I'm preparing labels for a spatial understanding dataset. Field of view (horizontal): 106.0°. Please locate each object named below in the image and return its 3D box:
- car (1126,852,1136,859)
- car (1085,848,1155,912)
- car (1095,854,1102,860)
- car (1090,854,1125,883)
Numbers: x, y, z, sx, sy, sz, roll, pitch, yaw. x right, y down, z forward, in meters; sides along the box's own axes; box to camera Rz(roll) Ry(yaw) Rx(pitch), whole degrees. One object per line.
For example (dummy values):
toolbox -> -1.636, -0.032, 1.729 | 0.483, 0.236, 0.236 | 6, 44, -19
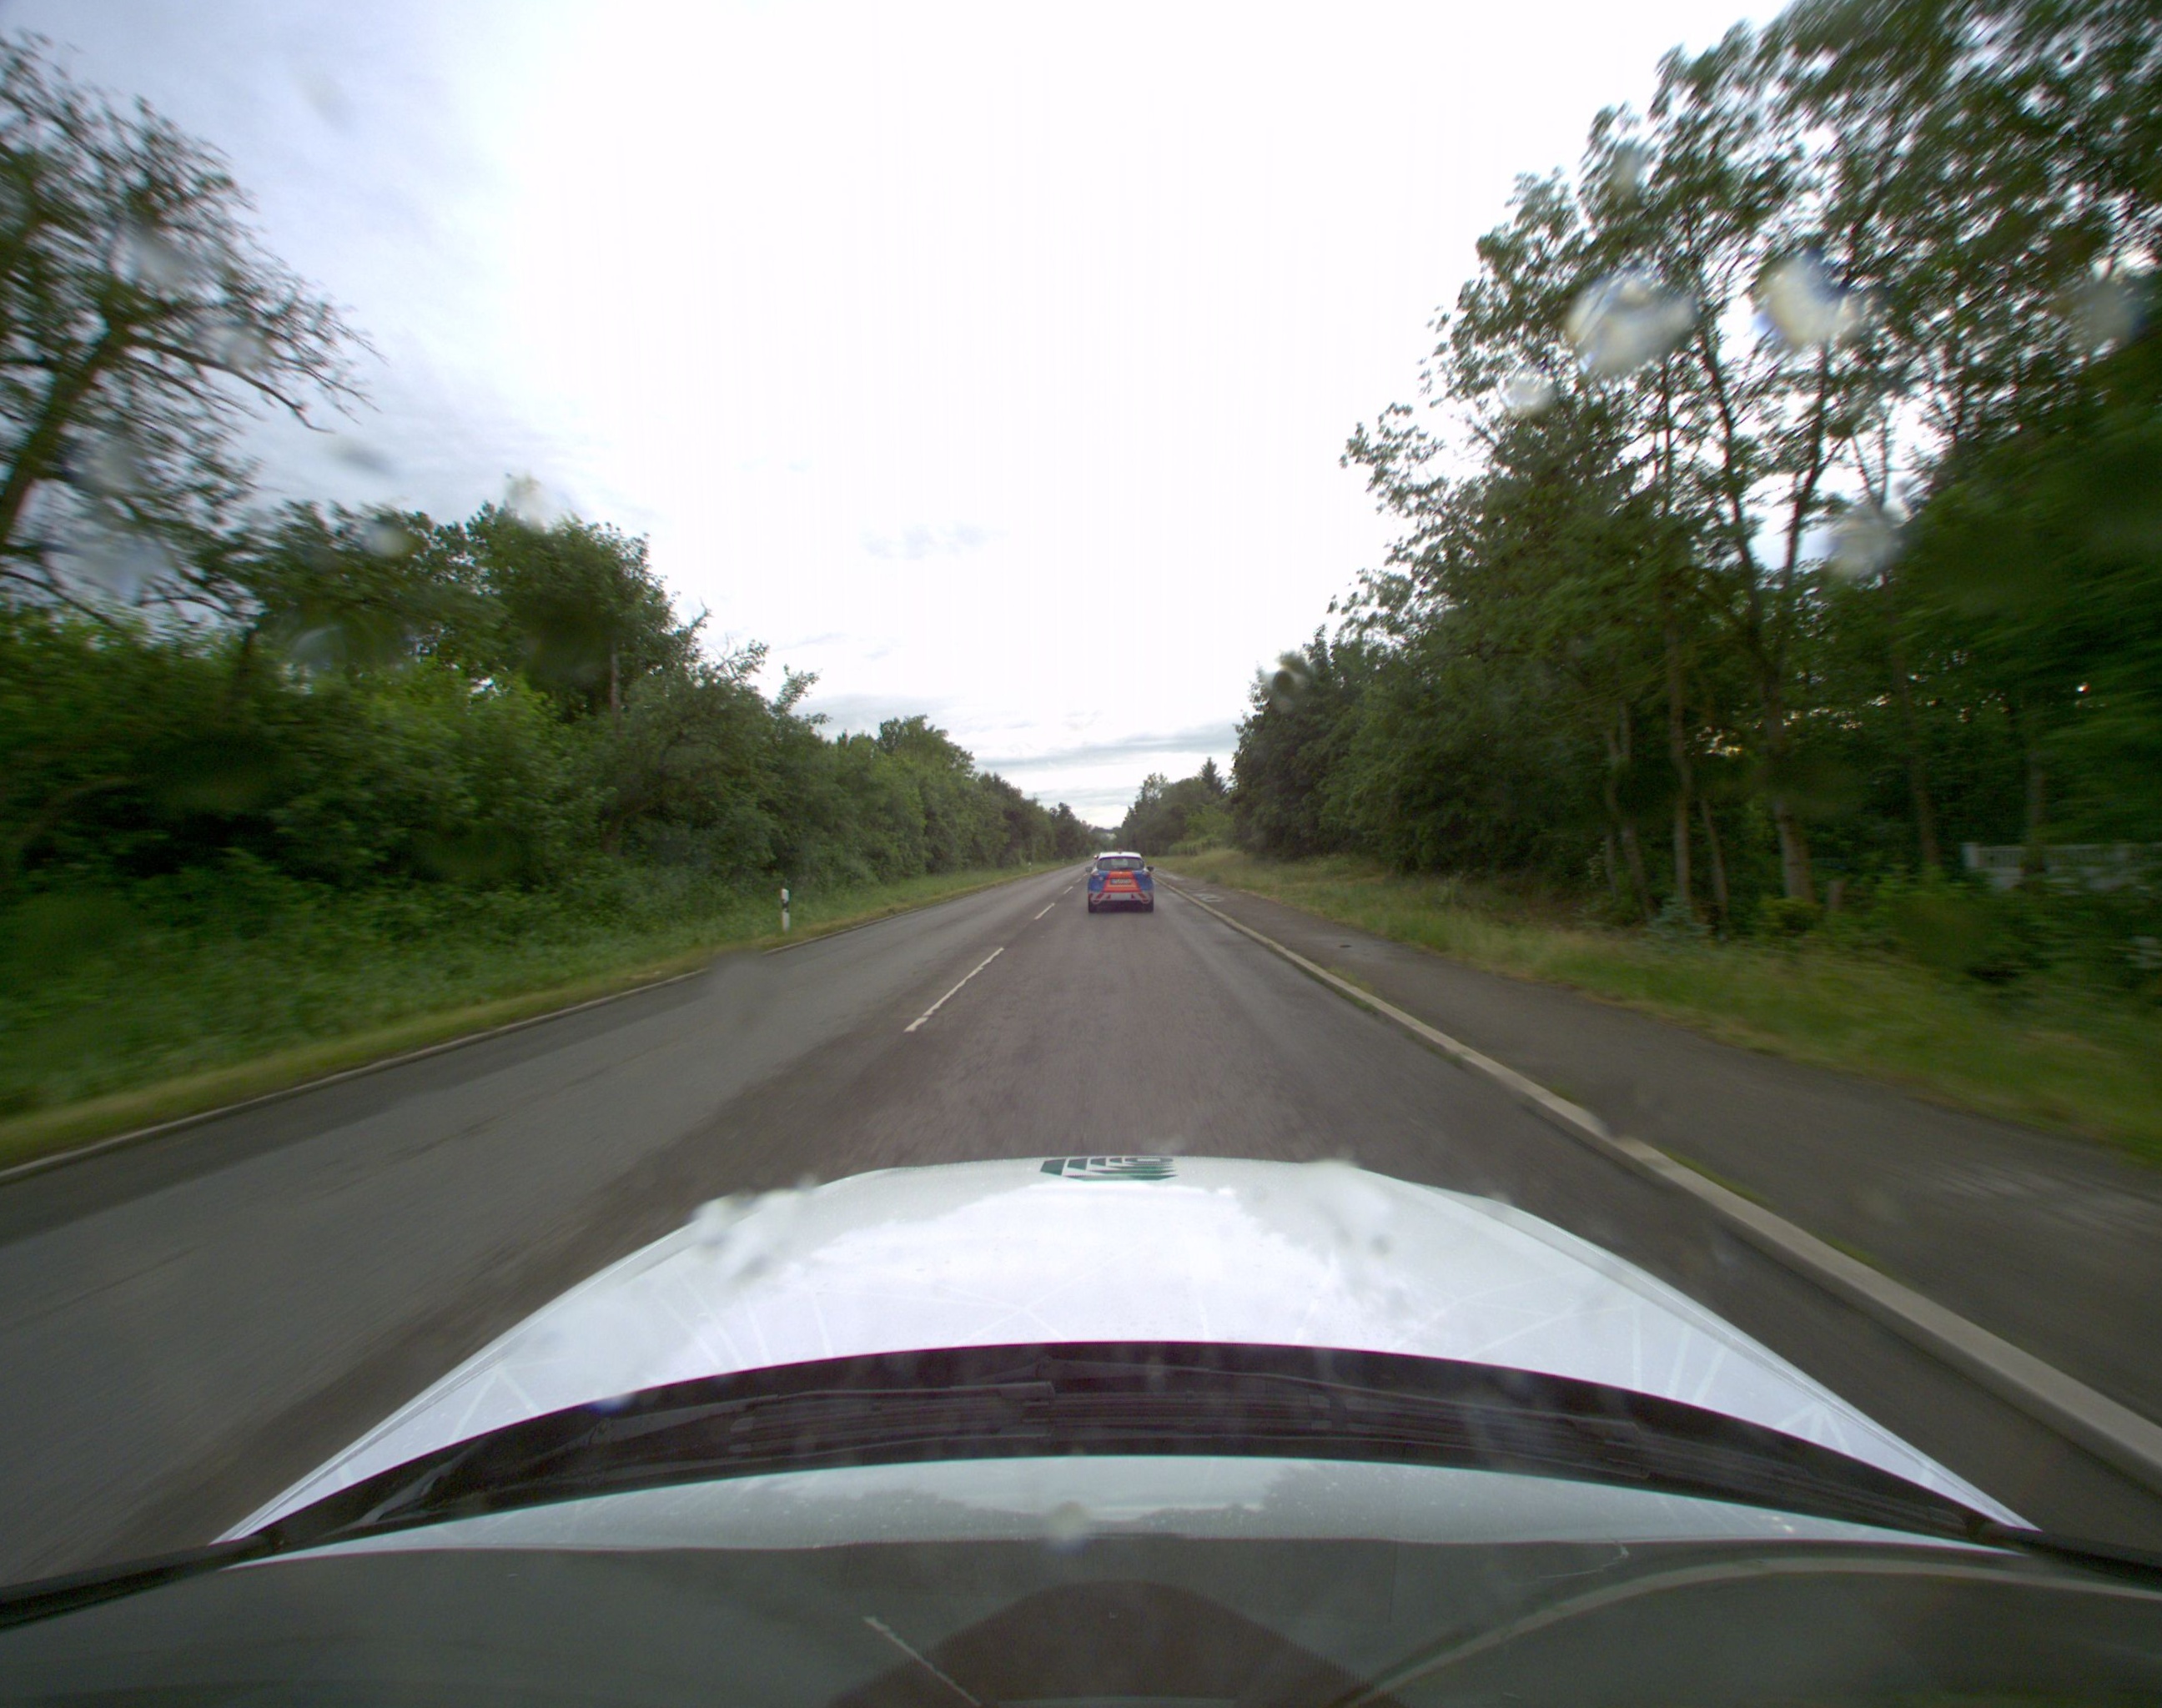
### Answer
car -> 10.701, 0.312, 174.770 | 1.985, 1.376, 4.003 | -3, 0, 3
car -> 1.045, 0.640, 22.324 | 1.745, 1.555, 3.794 | -1, 1, 2
car -> 5.121, 0.967, 238.184 | 1.898, 1.556, 4.517 | -3, 0, 2
car -> 1.323, 0.673, 40.002 | 1.592, 1.287, 3.478 | -3, 0, 3
